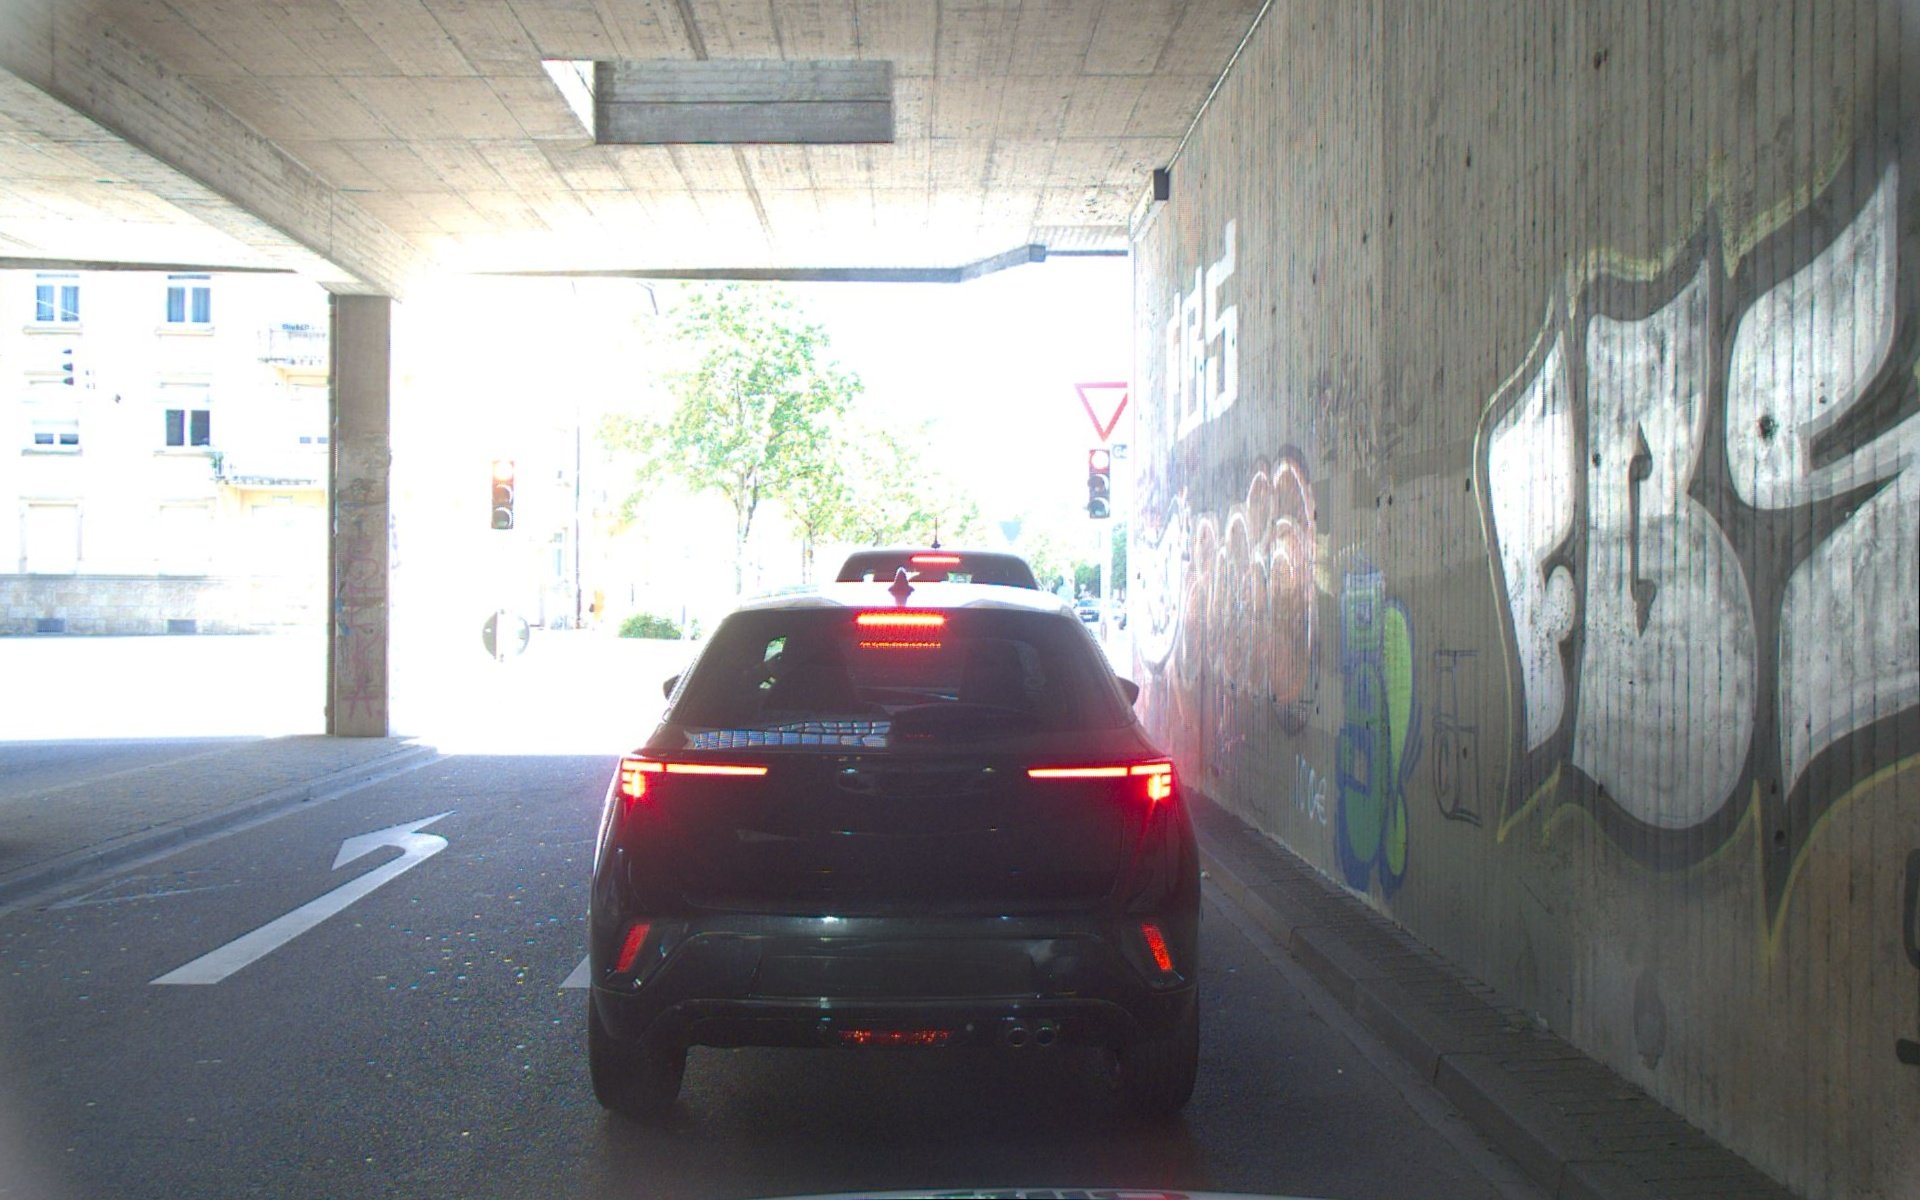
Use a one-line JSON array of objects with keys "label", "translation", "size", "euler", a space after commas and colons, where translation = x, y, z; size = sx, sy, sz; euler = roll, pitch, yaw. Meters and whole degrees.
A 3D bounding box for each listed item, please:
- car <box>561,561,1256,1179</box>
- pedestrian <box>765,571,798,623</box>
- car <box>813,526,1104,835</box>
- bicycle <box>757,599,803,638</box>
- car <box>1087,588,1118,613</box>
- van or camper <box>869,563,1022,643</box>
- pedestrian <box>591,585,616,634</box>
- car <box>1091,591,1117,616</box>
[{"label": "car", "translation": [-0.142, 0.670, 6.152], "size": [1.718, 1.525, 4.000], "euler": [1, 0, -1]}, {"label": "pedestrian", "translation": [-5.541, -0.088, 51.324], "size": [0.720, 1.612, 0.891], "euler": [1, -1, 15]}, {"label": "car", "translation": [-0.031, 0.481, 12.073], "size": [1.749, 1.865, 3.960], "euler": [1, 0, -1]}, {"label": "bicycle", "translation": [-5.567, 0.557, 51.238], "size": [0.721, 1.150, 2.027], "euler": [0, 0, 16]}, {"label": "car", "translation": [8.346, 0.025, 96.876], "size": [1.564, 1.477, 3.798], "euler": [0, 0, 9]}, {"label": "van or camper", "translation": [-0.352, 0.085, 43.580], "size": [3.795, 2.049, 2.002], "euler": [0, 0, 7]}, {"label": "pedestrian", "translation": [-12.869, 0.343, 59.658], "size": [0.609, 1.734, 0.724], "euler": [1, -1, 11]}, {"label": "car", "translation": [9.937, 0.247, 114.053], "size": [1.550, 1.668, 3.809], "euler": [0, 0, 9]}]
